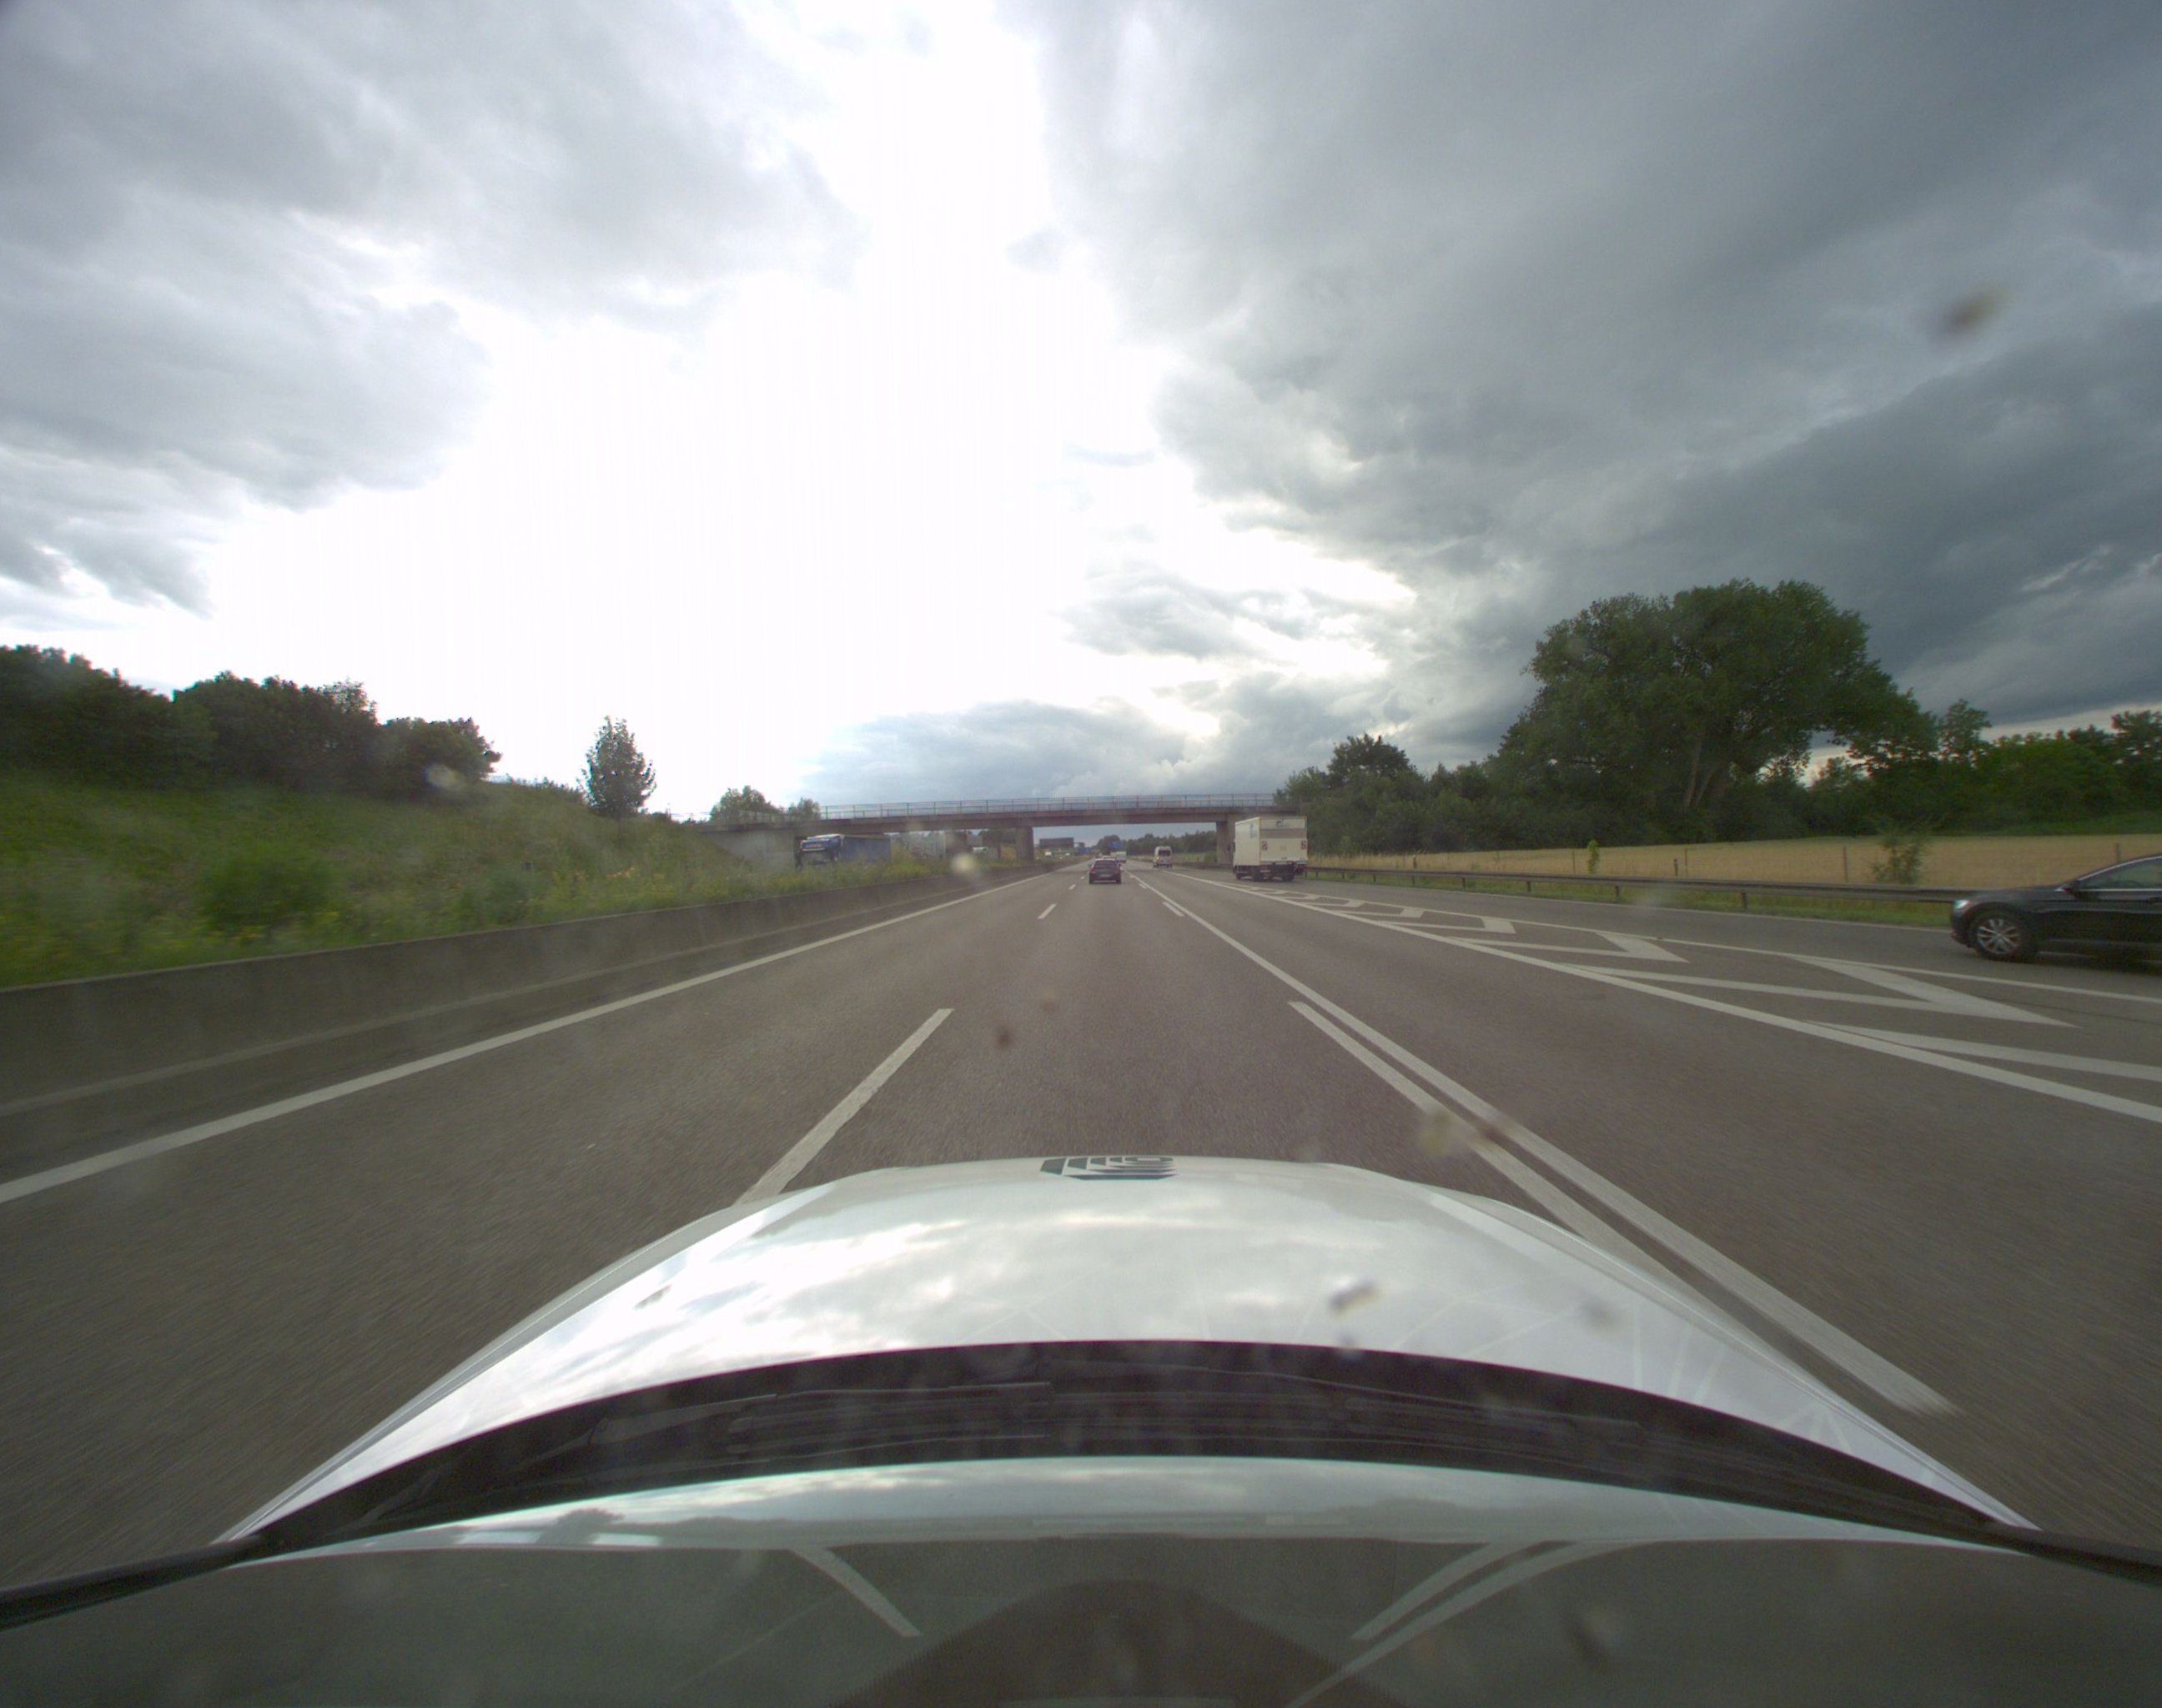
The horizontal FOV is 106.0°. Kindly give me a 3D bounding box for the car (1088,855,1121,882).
[{"bbox_3d":[1.327,0.787,46.110,1.737,1.389,4.001,-1,0,1],"label":"car"}]

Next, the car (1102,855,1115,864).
[{"bbox_3d":[4.338,0.918,131.226,1.986,1.298,4.000,-2,0,1],"label":"car"}]

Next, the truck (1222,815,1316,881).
[{"bbox_3d":[10.540,-0.288,46.758,3.096,3.471,8.883,0,0,-2],"label":"truck"}]

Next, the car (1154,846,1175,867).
[{"bbox_3d":[10.641,0.276,104.007,2.213,2.568,6.258,-1,0,2],"label":"car"}]

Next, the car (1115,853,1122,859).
[{"bbox_3d":[11.805,0.633,255.201,1.986,2.013,4.001,-2,0,1],"label":"car"}]

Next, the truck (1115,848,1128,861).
[{"bbox_3d":[9.411,0.135,188.624,2.700,2.964,12.449,0,0,1],"label":"truck"}]

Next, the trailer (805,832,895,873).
[{"bbox_3d":[-18.464,-0.081,66.411,2.910,2.955,13.976,0,0,2],"label":"trailer"}]

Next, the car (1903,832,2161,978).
[{"bbox_3d":[12.622,0.529,8.977,1.914,1.550,4.915,-2,0,-5],"label":"car"}]

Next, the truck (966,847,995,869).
[{"bbox_3d":[-17.134,0.701,139.783,2.986,3.684,13.013,-1,-1,2],"label":"truck"}]

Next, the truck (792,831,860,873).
[{"bbox_3d":[-18.687,-0.118,60.023,2.899,2.946,6.118,0,0,2],"label":"truck"}]
